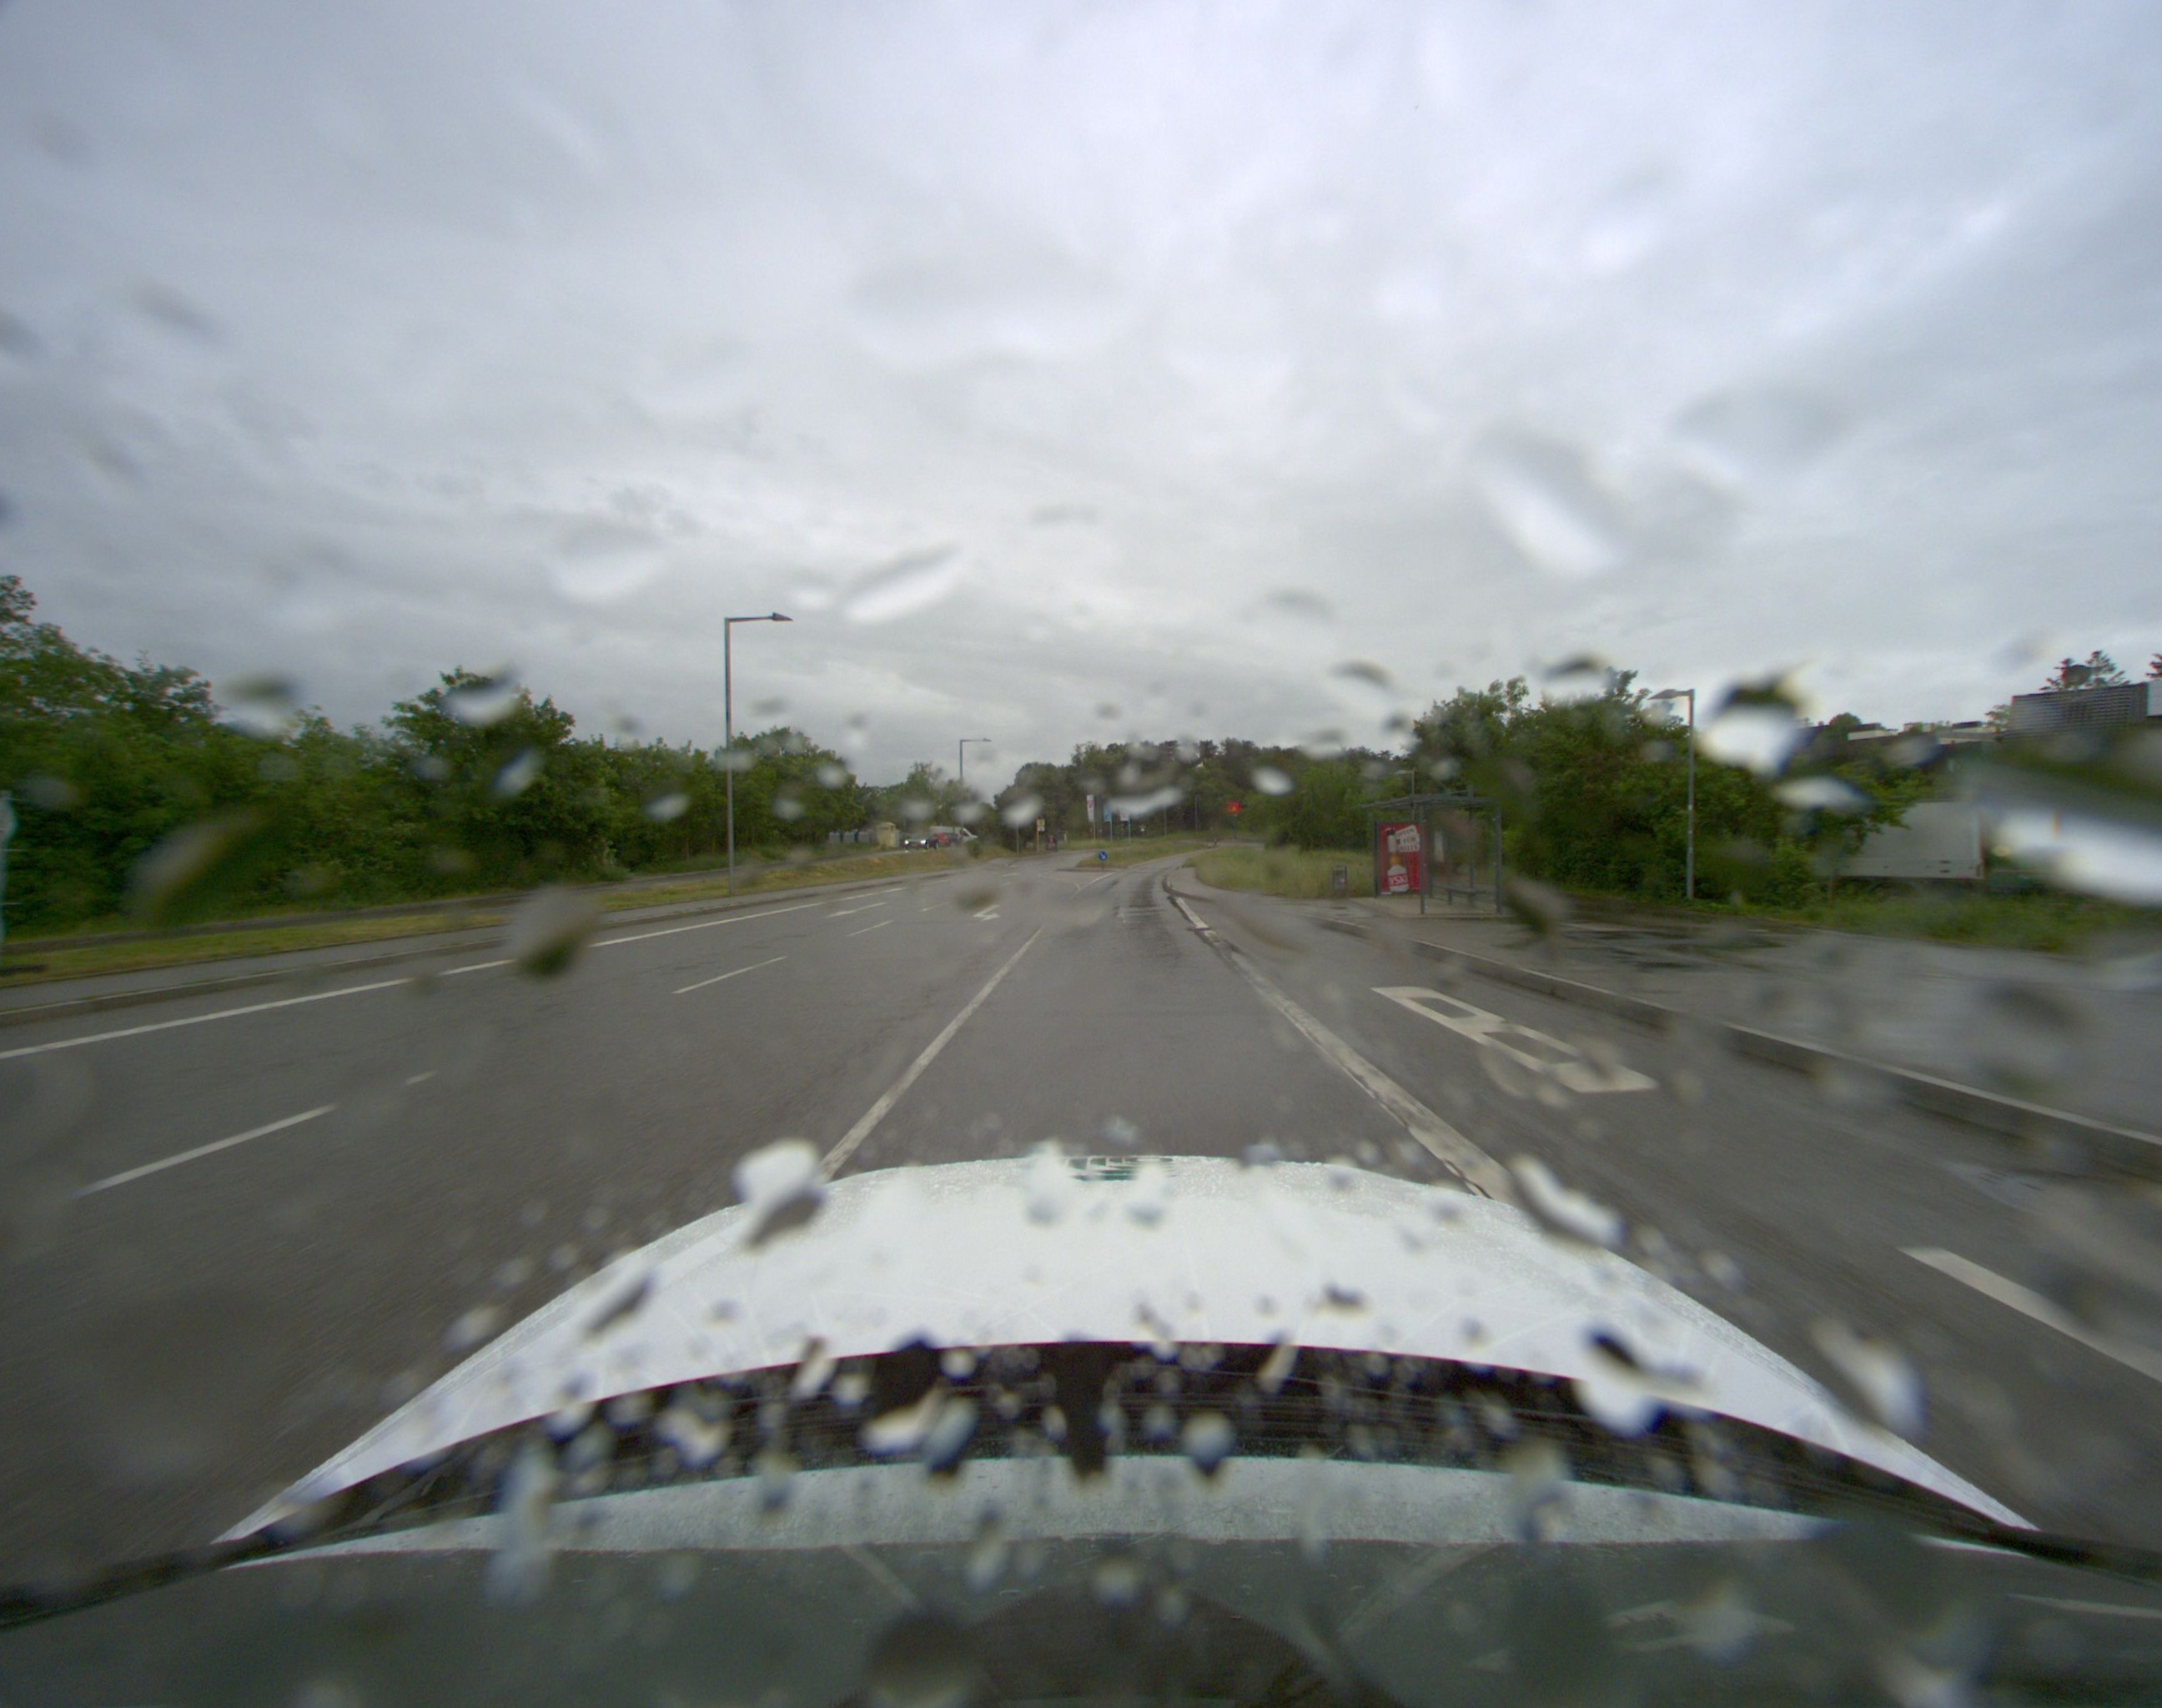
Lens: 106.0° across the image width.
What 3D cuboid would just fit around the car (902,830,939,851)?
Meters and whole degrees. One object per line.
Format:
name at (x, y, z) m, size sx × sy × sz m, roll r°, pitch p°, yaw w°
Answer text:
car at (-13.478, -1.174, 68.489) m, size 1.682 × 1.568 × 4.551 m, roll 2°, pitch 3°, yaw 6°

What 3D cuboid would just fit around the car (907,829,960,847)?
car at (-14.517, -1.602, 80.167) m, size 4.681 × 1.693 × 2.009 m, roll 1°, pitch 1°, yaw 7°

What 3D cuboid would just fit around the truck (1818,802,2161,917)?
truck at (19.475, 0.113, 16.988) m, size 2.009 × 2.109 × 5.785 m, roll 0°, pitch 0°, yaw -36°

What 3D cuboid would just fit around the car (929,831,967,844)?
car at (-15.479, -1.919, 94.653) m, size 3.963 × 1.364 × 1.657 m, roll 2°, pitch 2°, yaw 9°

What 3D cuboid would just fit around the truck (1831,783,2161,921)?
truck at (19.606, 0.019, 16.930) m, size 2.009 × 2.526 × 5.573 m, roll 0°, pitch -2°, yaw -36°

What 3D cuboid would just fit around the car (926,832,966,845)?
car at (-15.312, -1.744, 92.482) m, size 3.963 × 1.364 × 1.853 m, roll -1°, pitch 1°, yaw 9°

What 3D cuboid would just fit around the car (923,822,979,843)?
car at (-15.971, -2.637, 100.392) m, size 6.527 × 2.397 × 2.141 m, roll 0°, pitch 0°, yaw 3°

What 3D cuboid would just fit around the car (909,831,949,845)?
car at (-16.674, -1.777, 89.484) m, size 3.965 × 1.469 × 1.852 m, roll -1°, pitch 1°, yaw 7°
